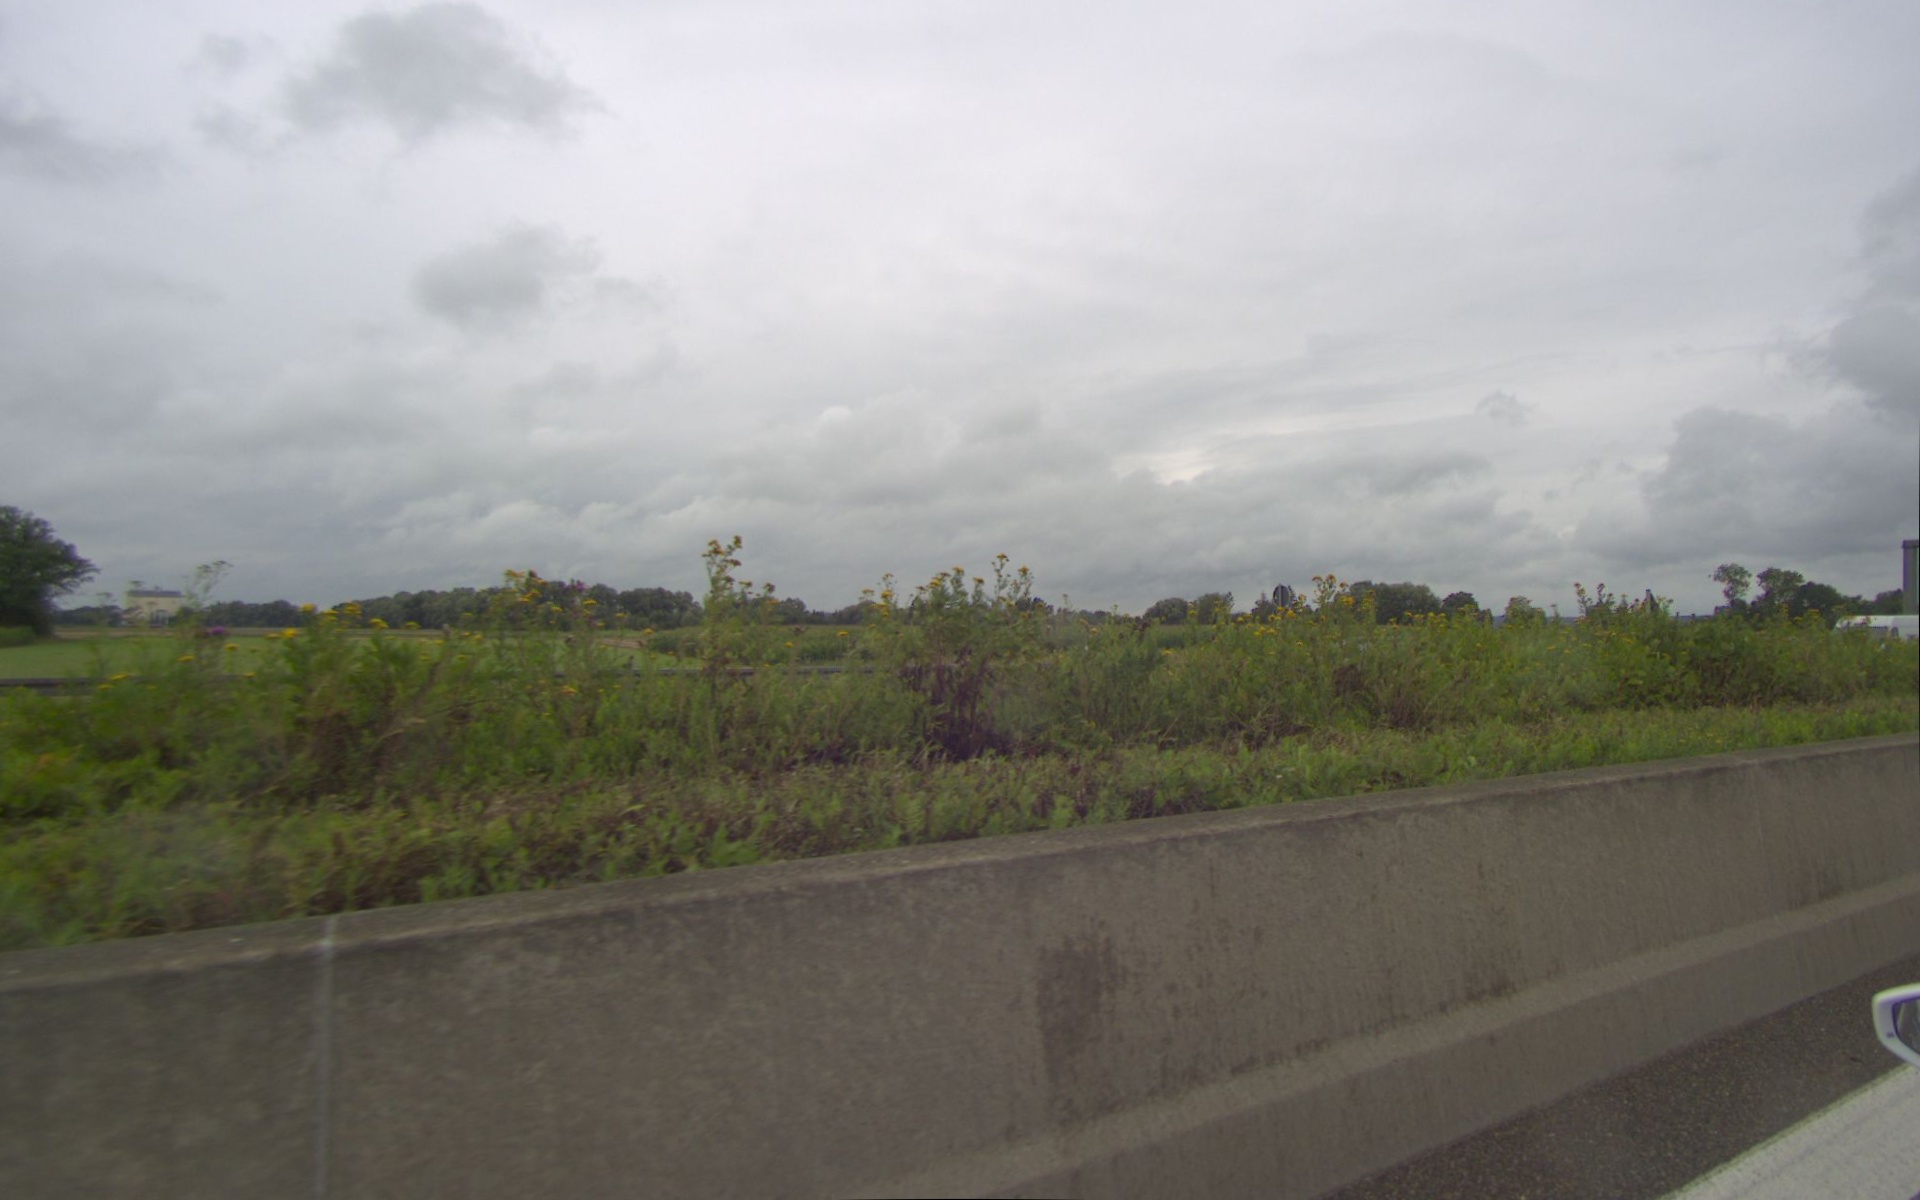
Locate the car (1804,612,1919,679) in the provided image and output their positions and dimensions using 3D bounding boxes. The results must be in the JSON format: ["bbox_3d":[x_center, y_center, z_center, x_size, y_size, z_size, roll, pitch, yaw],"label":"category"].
[{"bbox_3d":[38.116,1.901,41.870,6.824,2.563,2.235,2,0,-30],"label":"car"}]
